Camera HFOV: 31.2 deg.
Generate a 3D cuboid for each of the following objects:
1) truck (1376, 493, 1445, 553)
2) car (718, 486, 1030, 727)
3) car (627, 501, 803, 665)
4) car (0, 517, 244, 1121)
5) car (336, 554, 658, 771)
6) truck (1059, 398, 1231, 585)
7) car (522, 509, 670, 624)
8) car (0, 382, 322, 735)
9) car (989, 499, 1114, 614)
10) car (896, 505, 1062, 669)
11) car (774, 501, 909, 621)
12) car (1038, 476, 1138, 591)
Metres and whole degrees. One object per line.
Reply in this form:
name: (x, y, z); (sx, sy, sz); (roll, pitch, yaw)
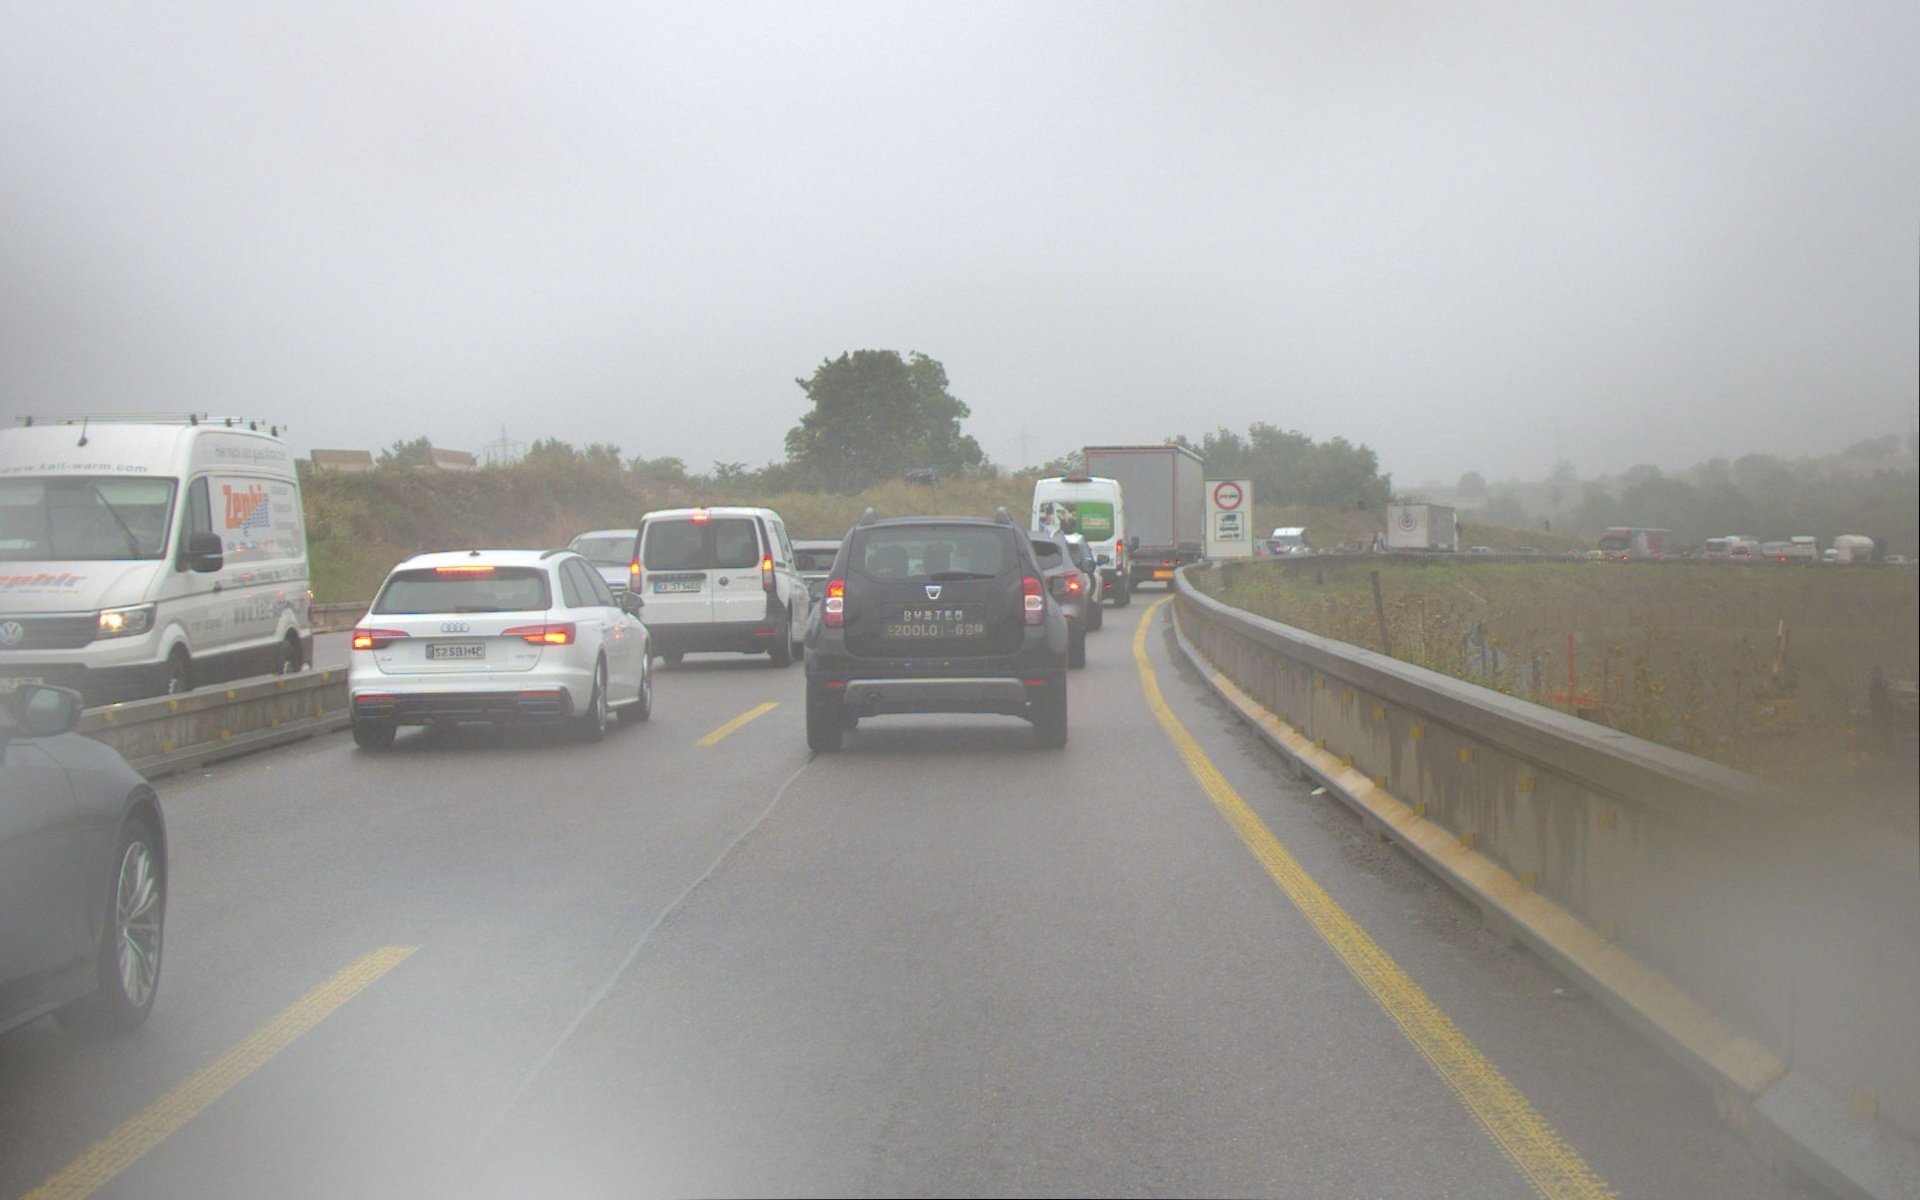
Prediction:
truck: (28.816, -4.909, 219.701); (3.474, 3.702, 8.413); (-1, 1, 13)
car: (-0.531, 0.029, 24.733); (1.826, 1.585, 3.999); (0, 0, 5)
car: (-2.794, -0.197, 39.970); (1.826, 1.809, 4.000); (0, 0, -1)
car: (-3.279, 0.581, 8.648); (1.735, 1.457, 5.630); (0, 3, 0)
car: (-3.390, 0.420, 25.839); (1.826, 1.494, 4.000); (0, 0, 1)
truck: (5.400, -2.957, 98.123); (3.545, 5.060, 10.437); (0, 0, 11)
car: (-5.644, -0.535, 53.689); (1.790, 1.718, 4.288); (0, 1, 1)
car: (-6.799, -0.368, 27.968); (2.024, 2.540, 5.958); (-1, 1, 0)
car: (1.542, -0.704, 56.594); (1.826, 1.809, 3.999); (0, 0, 5)
car: (0.262, -0.152, 40.005); (1.826, 1.809, 4.000); (0, 0, 2)
car: (-1.828, -0.601, 54.166); (1.826, 1.809, 4.000); (0, 0, 2)
car: (2.800, -1.415, 74.506); (1.827, 2.429, 4.157); (0, 0, 7)
